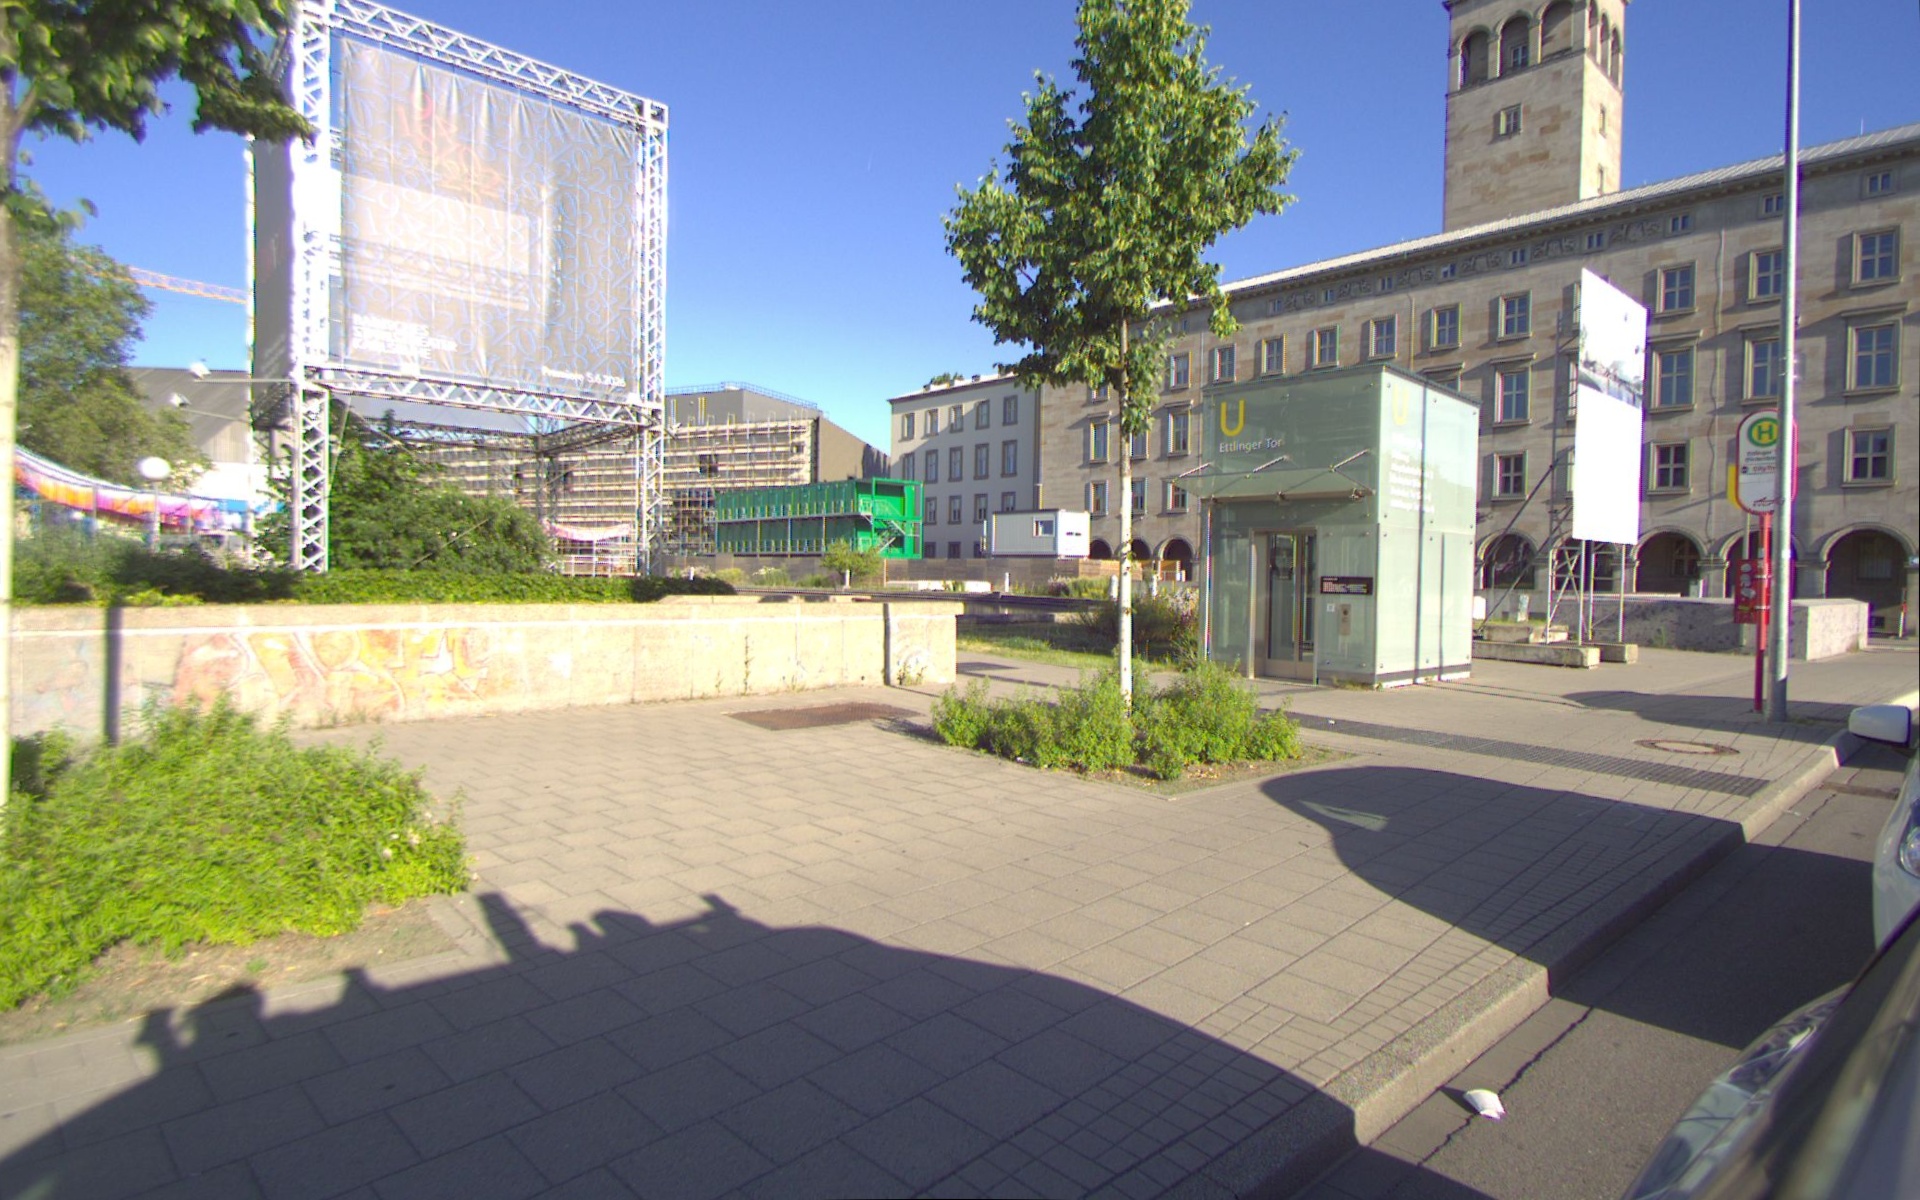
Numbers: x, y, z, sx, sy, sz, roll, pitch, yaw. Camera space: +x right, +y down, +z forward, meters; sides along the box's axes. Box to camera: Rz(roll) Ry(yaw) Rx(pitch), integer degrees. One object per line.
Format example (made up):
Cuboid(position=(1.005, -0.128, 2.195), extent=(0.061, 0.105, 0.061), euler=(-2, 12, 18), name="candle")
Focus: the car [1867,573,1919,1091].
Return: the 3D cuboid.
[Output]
Cuboid(position=(4.645, 0.677, 3.668), extent=(3.930, 1.473, 1.518), euler=(0, 2, -41), name="car")
